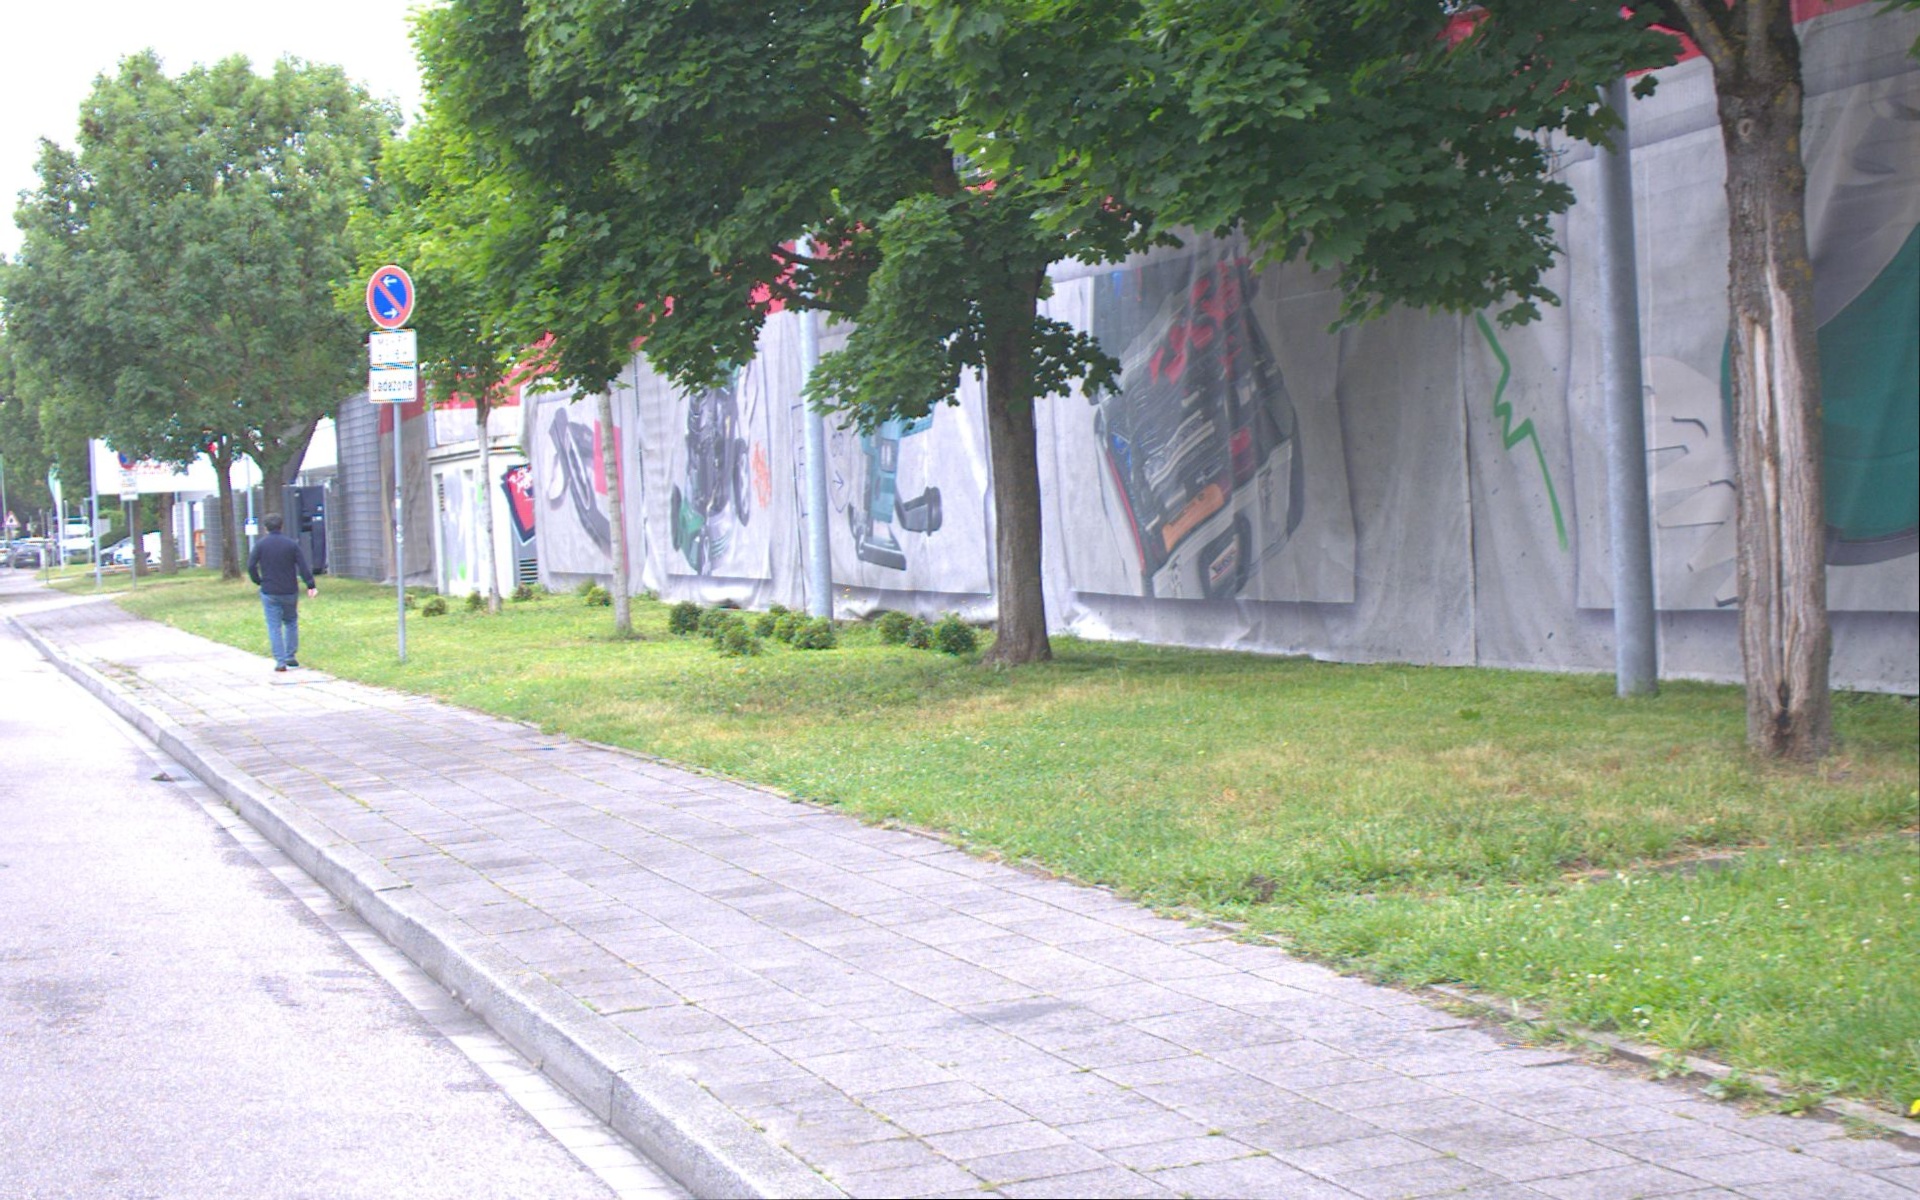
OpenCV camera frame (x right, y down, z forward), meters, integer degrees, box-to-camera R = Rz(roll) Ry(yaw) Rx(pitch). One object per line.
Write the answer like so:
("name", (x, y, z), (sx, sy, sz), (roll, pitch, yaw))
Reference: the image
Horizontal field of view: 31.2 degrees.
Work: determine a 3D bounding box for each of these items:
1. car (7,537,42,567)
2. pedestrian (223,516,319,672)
("car", (-54.022, -2.769, 198.498), (1.886, 1.677, 4.255), (-1, 1, -16))
("pedestrian", (-7.379, -0.070, 36.825), (0.919, 1.629, 0.853), (-2, 1, -15))
